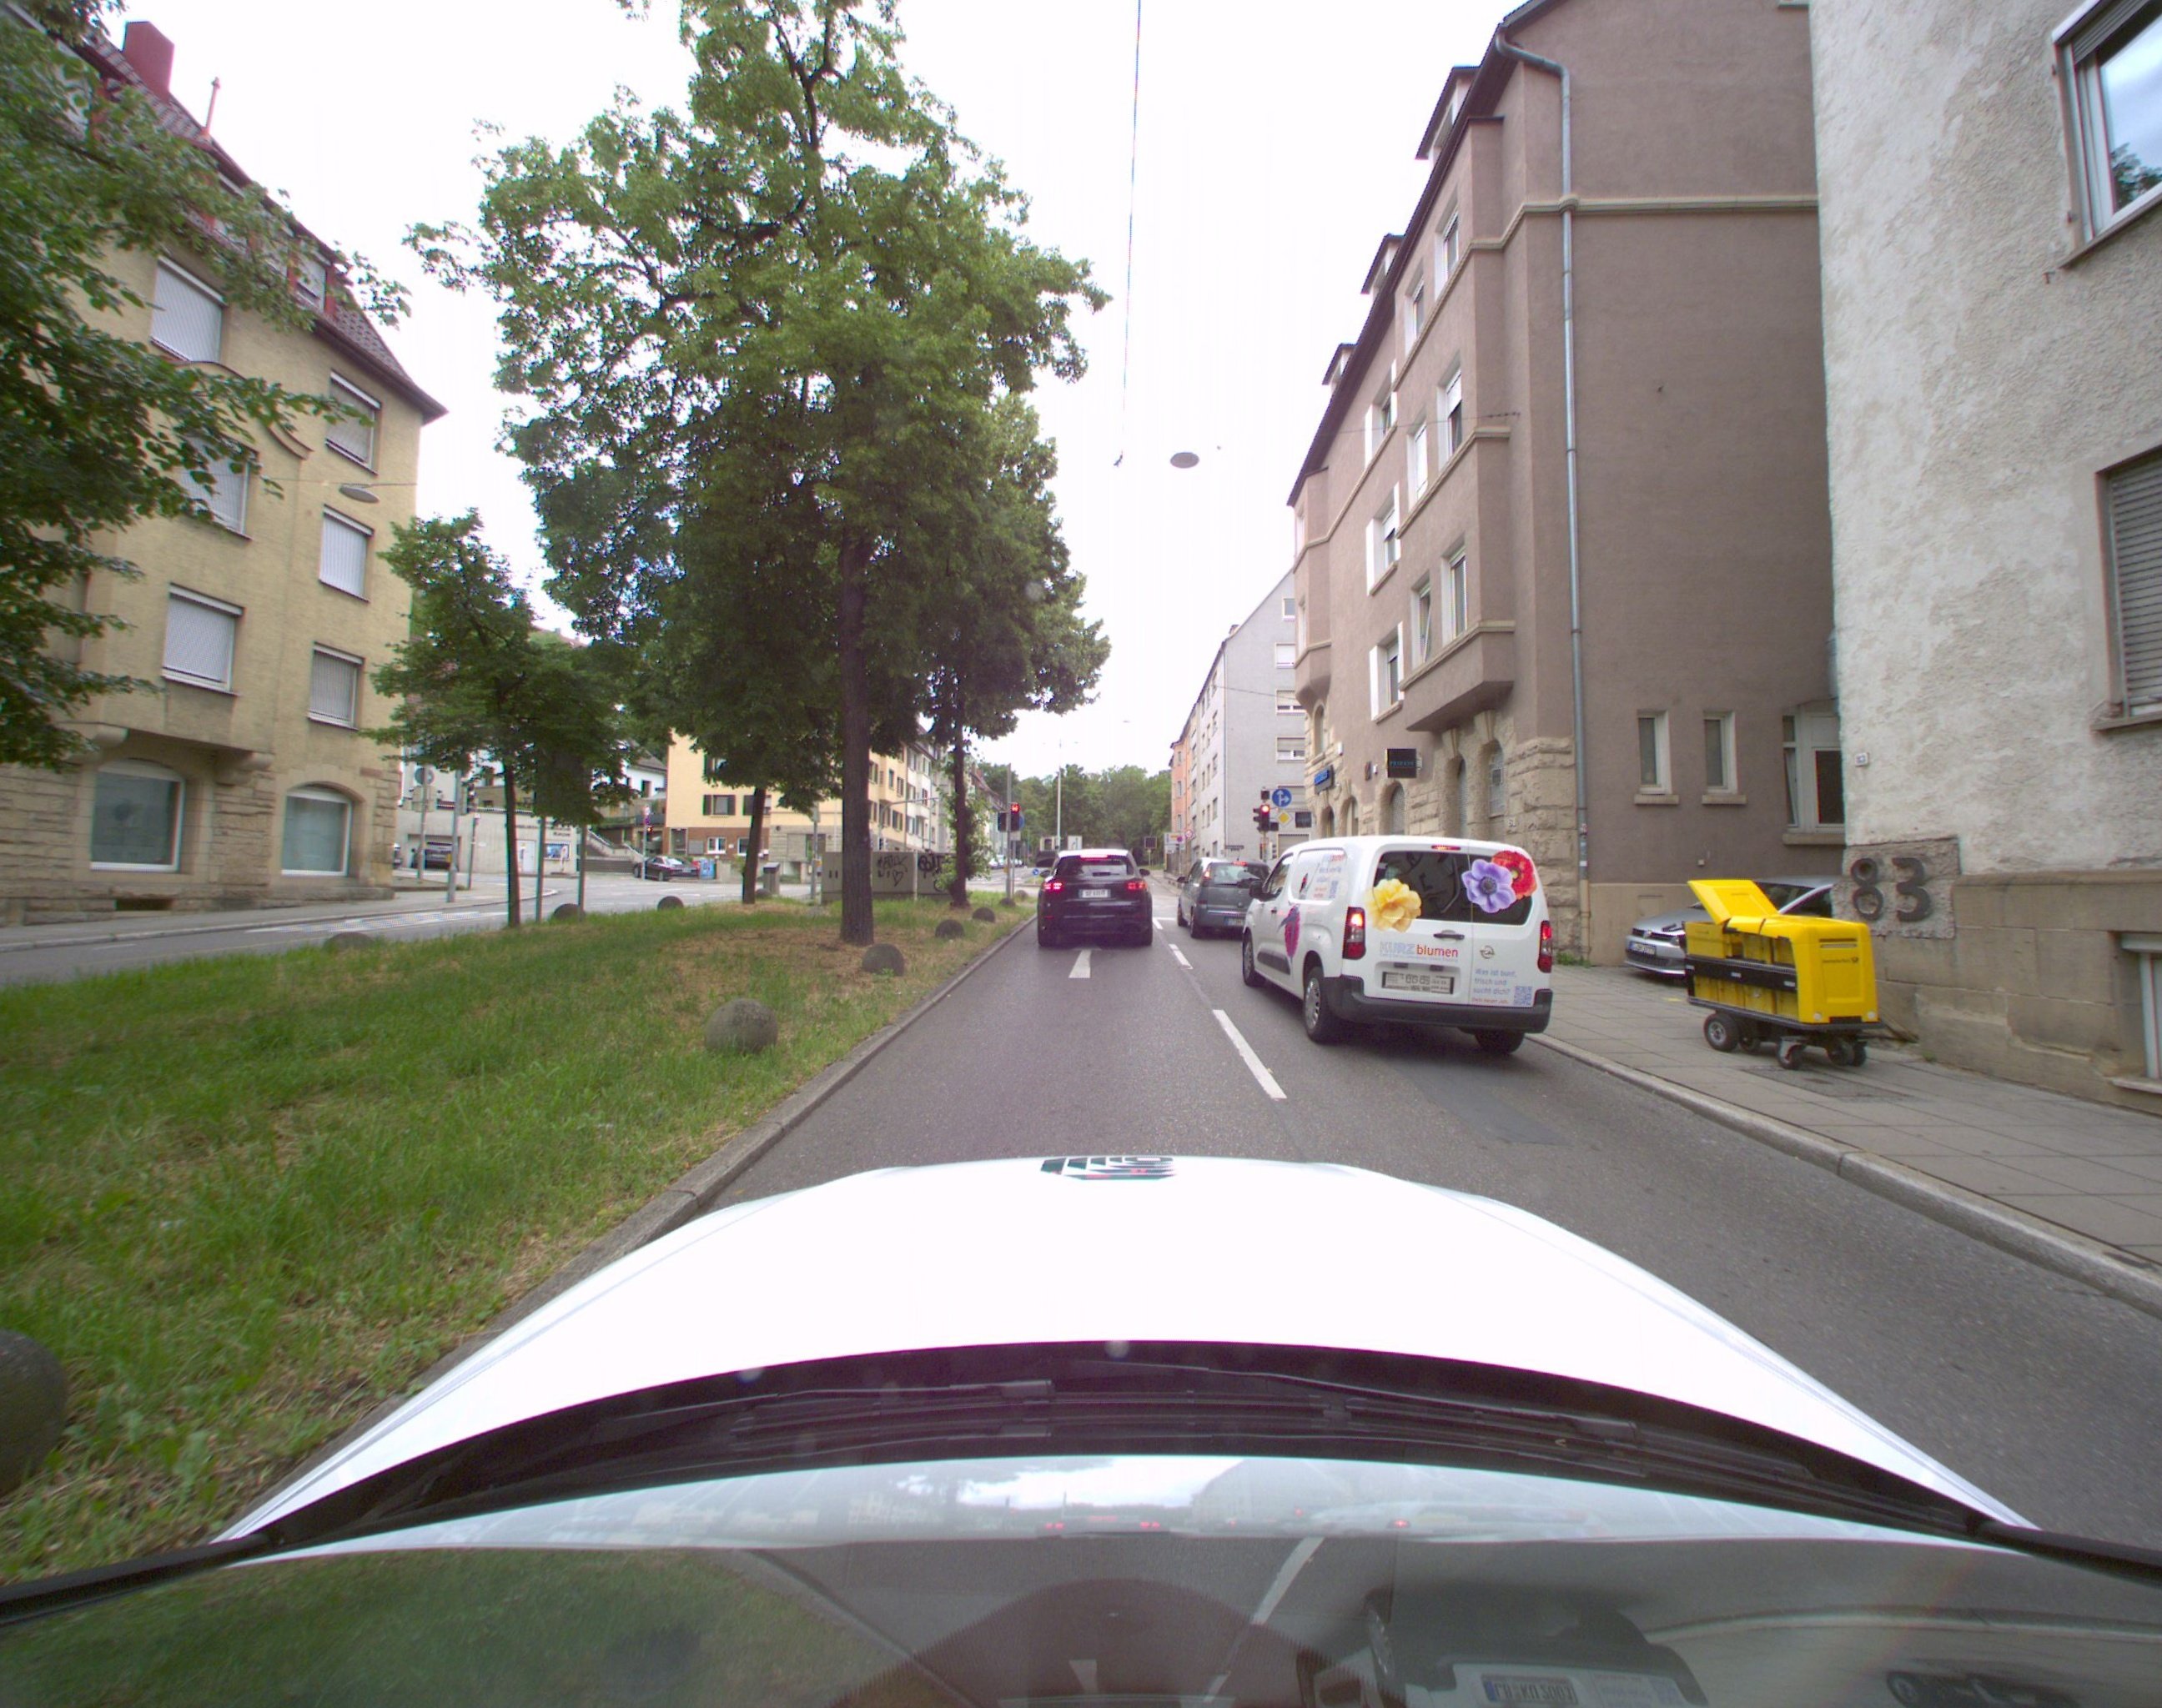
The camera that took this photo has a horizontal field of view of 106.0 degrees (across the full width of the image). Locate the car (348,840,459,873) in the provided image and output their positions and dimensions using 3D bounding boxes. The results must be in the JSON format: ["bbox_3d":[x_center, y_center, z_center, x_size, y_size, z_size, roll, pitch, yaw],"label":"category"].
[{"bbox_3d":[-32.667,0.153,39.340,4.021,1.510,1.779,1,-1,-42],"label":"car"}]

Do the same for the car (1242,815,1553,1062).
[{"bbox_3d":[2.892,0.703,8.705,1.840,1.825,5.028,1,-2,6],"label":"car"}]

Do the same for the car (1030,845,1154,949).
[{"bbox_3d":[0.272,0.686,15.144,1.986,1.653,4.003,-1,0,3],"label":"car"}]

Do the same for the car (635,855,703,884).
[{"bbox_3d":[-24.080,0.926,47.586,3.948,1.665,1.894,-1,-2,35],"label":"car"}]

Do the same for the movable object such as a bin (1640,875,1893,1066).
[{"bbox_3d":[5.745,0.895,6.984,0.717,1.421,1.693,-1,-1,0],"label":"movable object such as a bin"}]

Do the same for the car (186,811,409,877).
[{"bbox_3d":[-27.346,-0.298,28.683,5.187,2.064,1.981,2,-1,-22],"label":"car"}]

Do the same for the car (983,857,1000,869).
[{"bbox_3d":[-11.812,1.136,107.888,1.788,1.510,4.000,0,0,1],"label":"car"}]

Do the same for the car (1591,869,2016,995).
[{"bbox_3d":[9.323,0.957,10.795,3.971,1.403,1.801,0,2,2],"label":"car"}]

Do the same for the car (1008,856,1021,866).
[{"bbox_3d":[-11.037,1.165,134.675,1.788,1.510,4.000,0,0,1],"label":"car"}]

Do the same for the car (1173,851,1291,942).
[{"bbox_3d":[3.019,0.779,16.963,1.746,1.593,3.630,3,1,0],"label":"car"}]

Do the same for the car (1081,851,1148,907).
[{"bbox_3d":[1.110,0.771,26.306,1.986,1.653,4.003,-1,-1,3],"label":"car"}]
